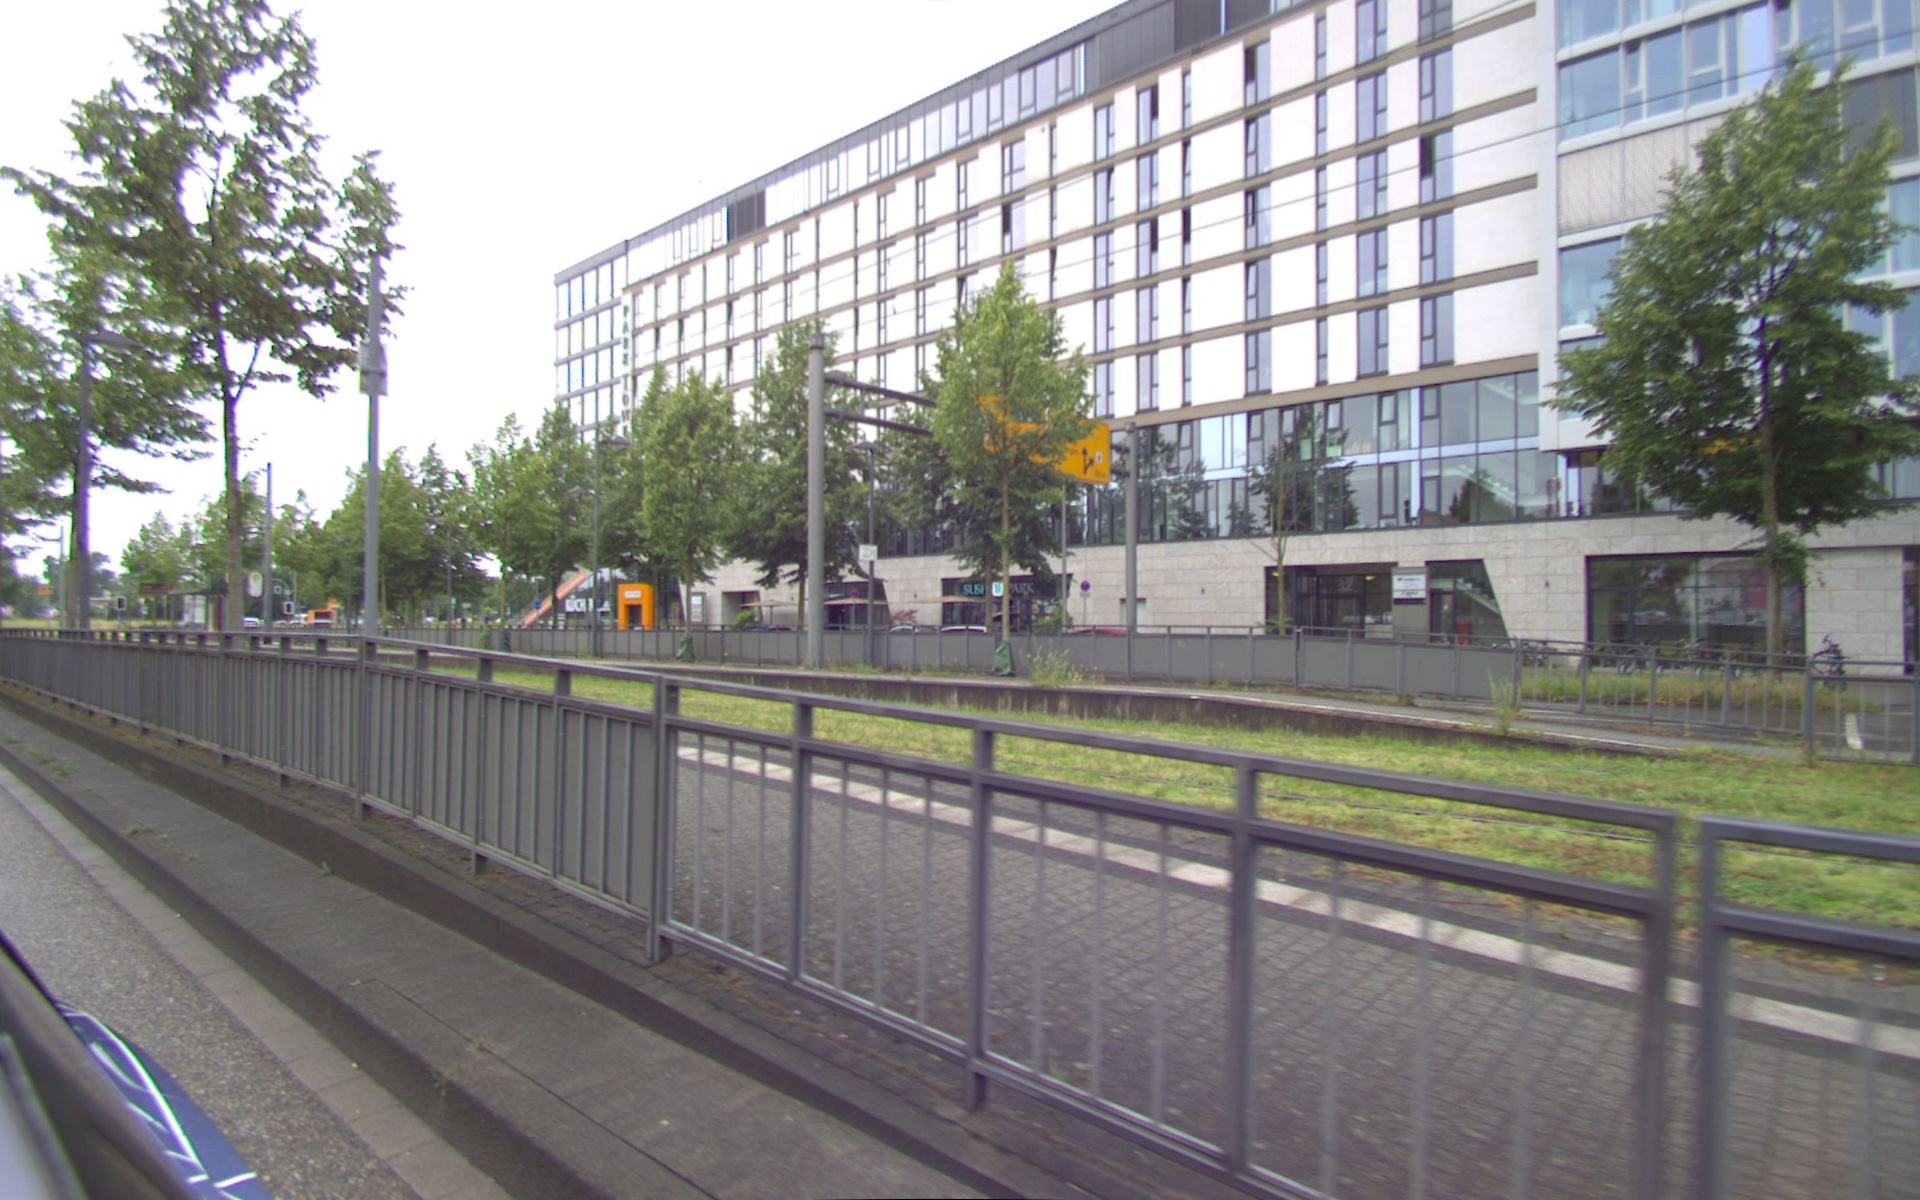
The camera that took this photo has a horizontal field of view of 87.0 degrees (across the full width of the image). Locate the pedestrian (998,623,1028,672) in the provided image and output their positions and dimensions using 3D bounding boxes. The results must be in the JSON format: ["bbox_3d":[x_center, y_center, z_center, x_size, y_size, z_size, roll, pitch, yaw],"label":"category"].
[{"bbox_3d":[1.893,1.704,36.373,0.793,1.704,0.703,-2,-2,44],"label":"pedestrian"}]

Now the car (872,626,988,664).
[{"bbox_3d":[-1.153,1.617,37.218,4.070,1.298,1.972,-1,-1,43],"label":"car"}]

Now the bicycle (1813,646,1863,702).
[{"bbox_3d":[18.002,1.493,20.729,0.696,1.042,1.957,-2,-2,43],"label":"bicycle"}]

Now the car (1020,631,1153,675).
[{"bbox_3d":[4.053,1.669,32.809,3.860,1.298,1.972,-2,-2,43],"label":"car"}]

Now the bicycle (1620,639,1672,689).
[{"bbox_3d":[15.730,1.450,23.183,0.696,1.042,1.957,-1,-1,43],"label":"bicycle"}]

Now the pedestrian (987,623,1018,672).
[{"bbox_3d":[1.508,1.656,35.682,0.793,1.704,0.703,-2,-2,44],"label":"pedestrian"}]

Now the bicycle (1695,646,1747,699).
[{"bbox_3d":[16.568,1.543,22.007,0.696,1.042,1.957,-2,-2,43],"label":"bicycle"}]

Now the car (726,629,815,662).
[{"bbox_3d":[-8.476,2.005,45.247,3.859,1.298,1.972,0,-1,42],"label":"car"}]

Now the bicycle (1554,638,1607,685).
[{"bbox_3d":[14.817,1.448,24.138,0.696,1.042,1.957,-2,-2,43],"label":"bicycle"}]
